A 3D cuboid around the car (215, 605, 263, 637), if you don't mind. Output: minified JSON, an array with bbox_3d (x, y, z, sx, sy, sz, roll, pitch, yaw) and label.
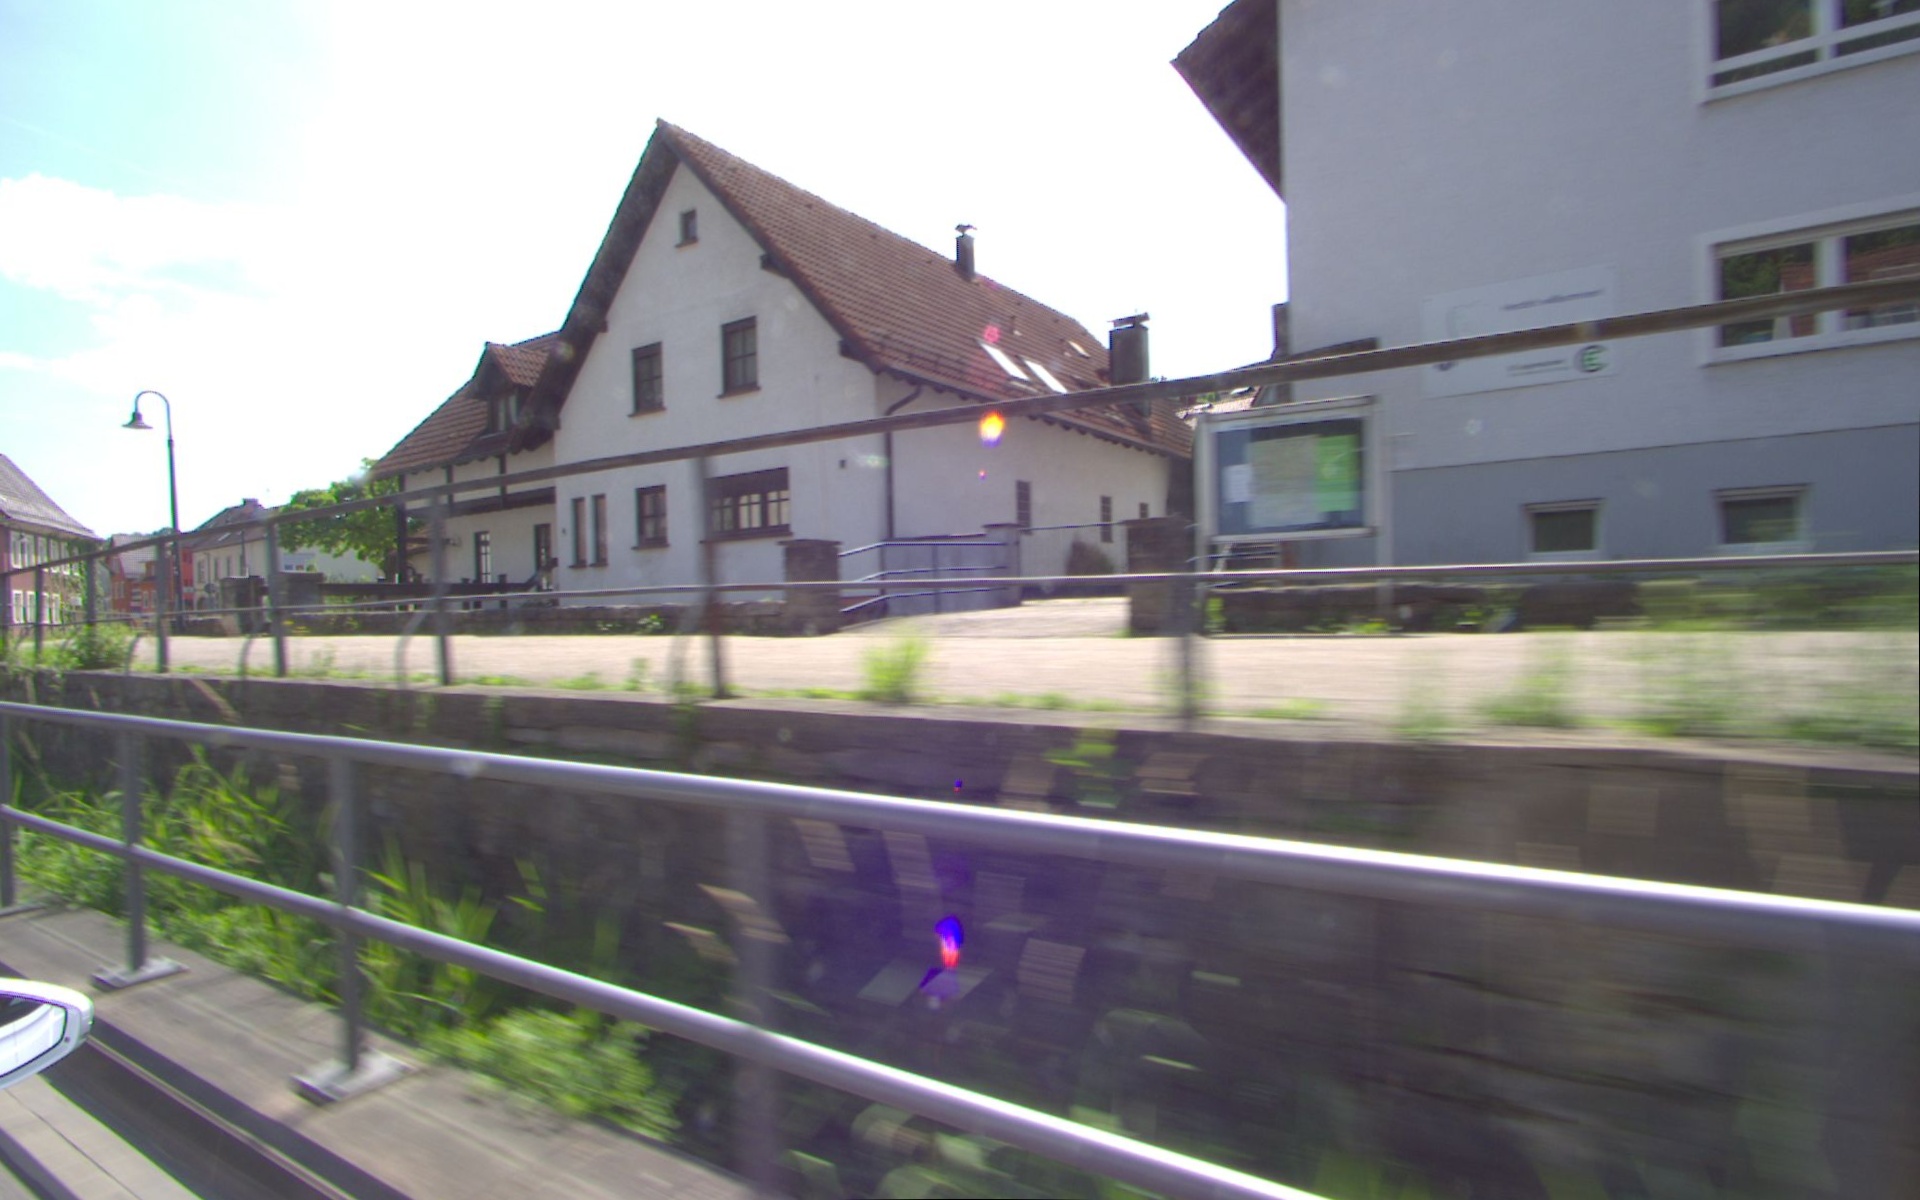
[{"bbox_3d":[-48.265,1.400,67.096,1.873,2.007,3.102,-4,1,-24],"label":"car"}]
